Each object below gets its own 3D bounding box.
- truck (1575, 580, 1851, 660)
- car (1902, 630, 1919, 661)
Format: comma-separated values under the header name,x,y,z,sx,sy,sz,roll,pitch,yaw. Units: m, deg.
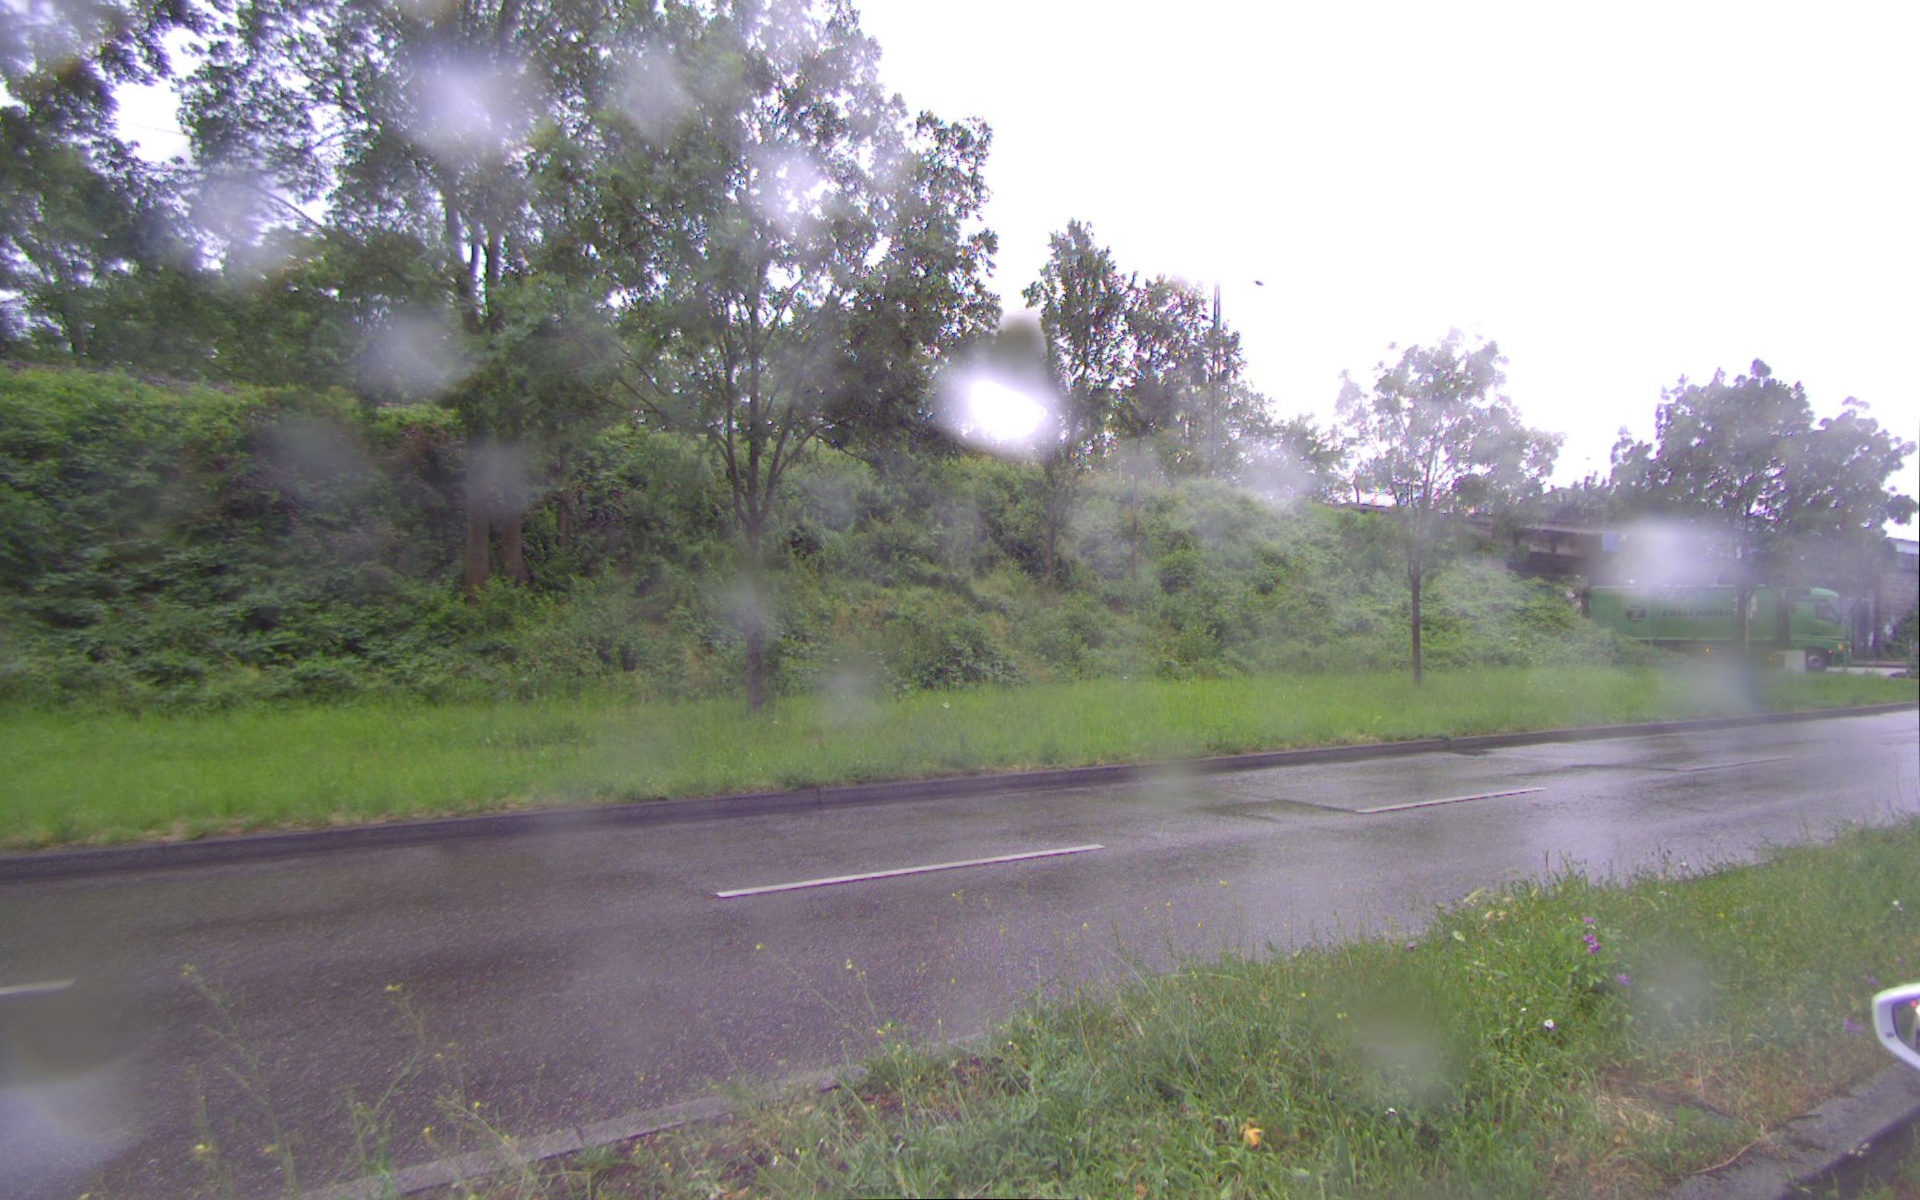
name,x,y,z,sx,sy,sz,roll,pitch,yaw
truck,34.319,0.865,46.345,9.872,3.416,2.346,0,-1,25
car,57.909,2.689,58.525,3.924,1.739,1.998,1,-1,25
